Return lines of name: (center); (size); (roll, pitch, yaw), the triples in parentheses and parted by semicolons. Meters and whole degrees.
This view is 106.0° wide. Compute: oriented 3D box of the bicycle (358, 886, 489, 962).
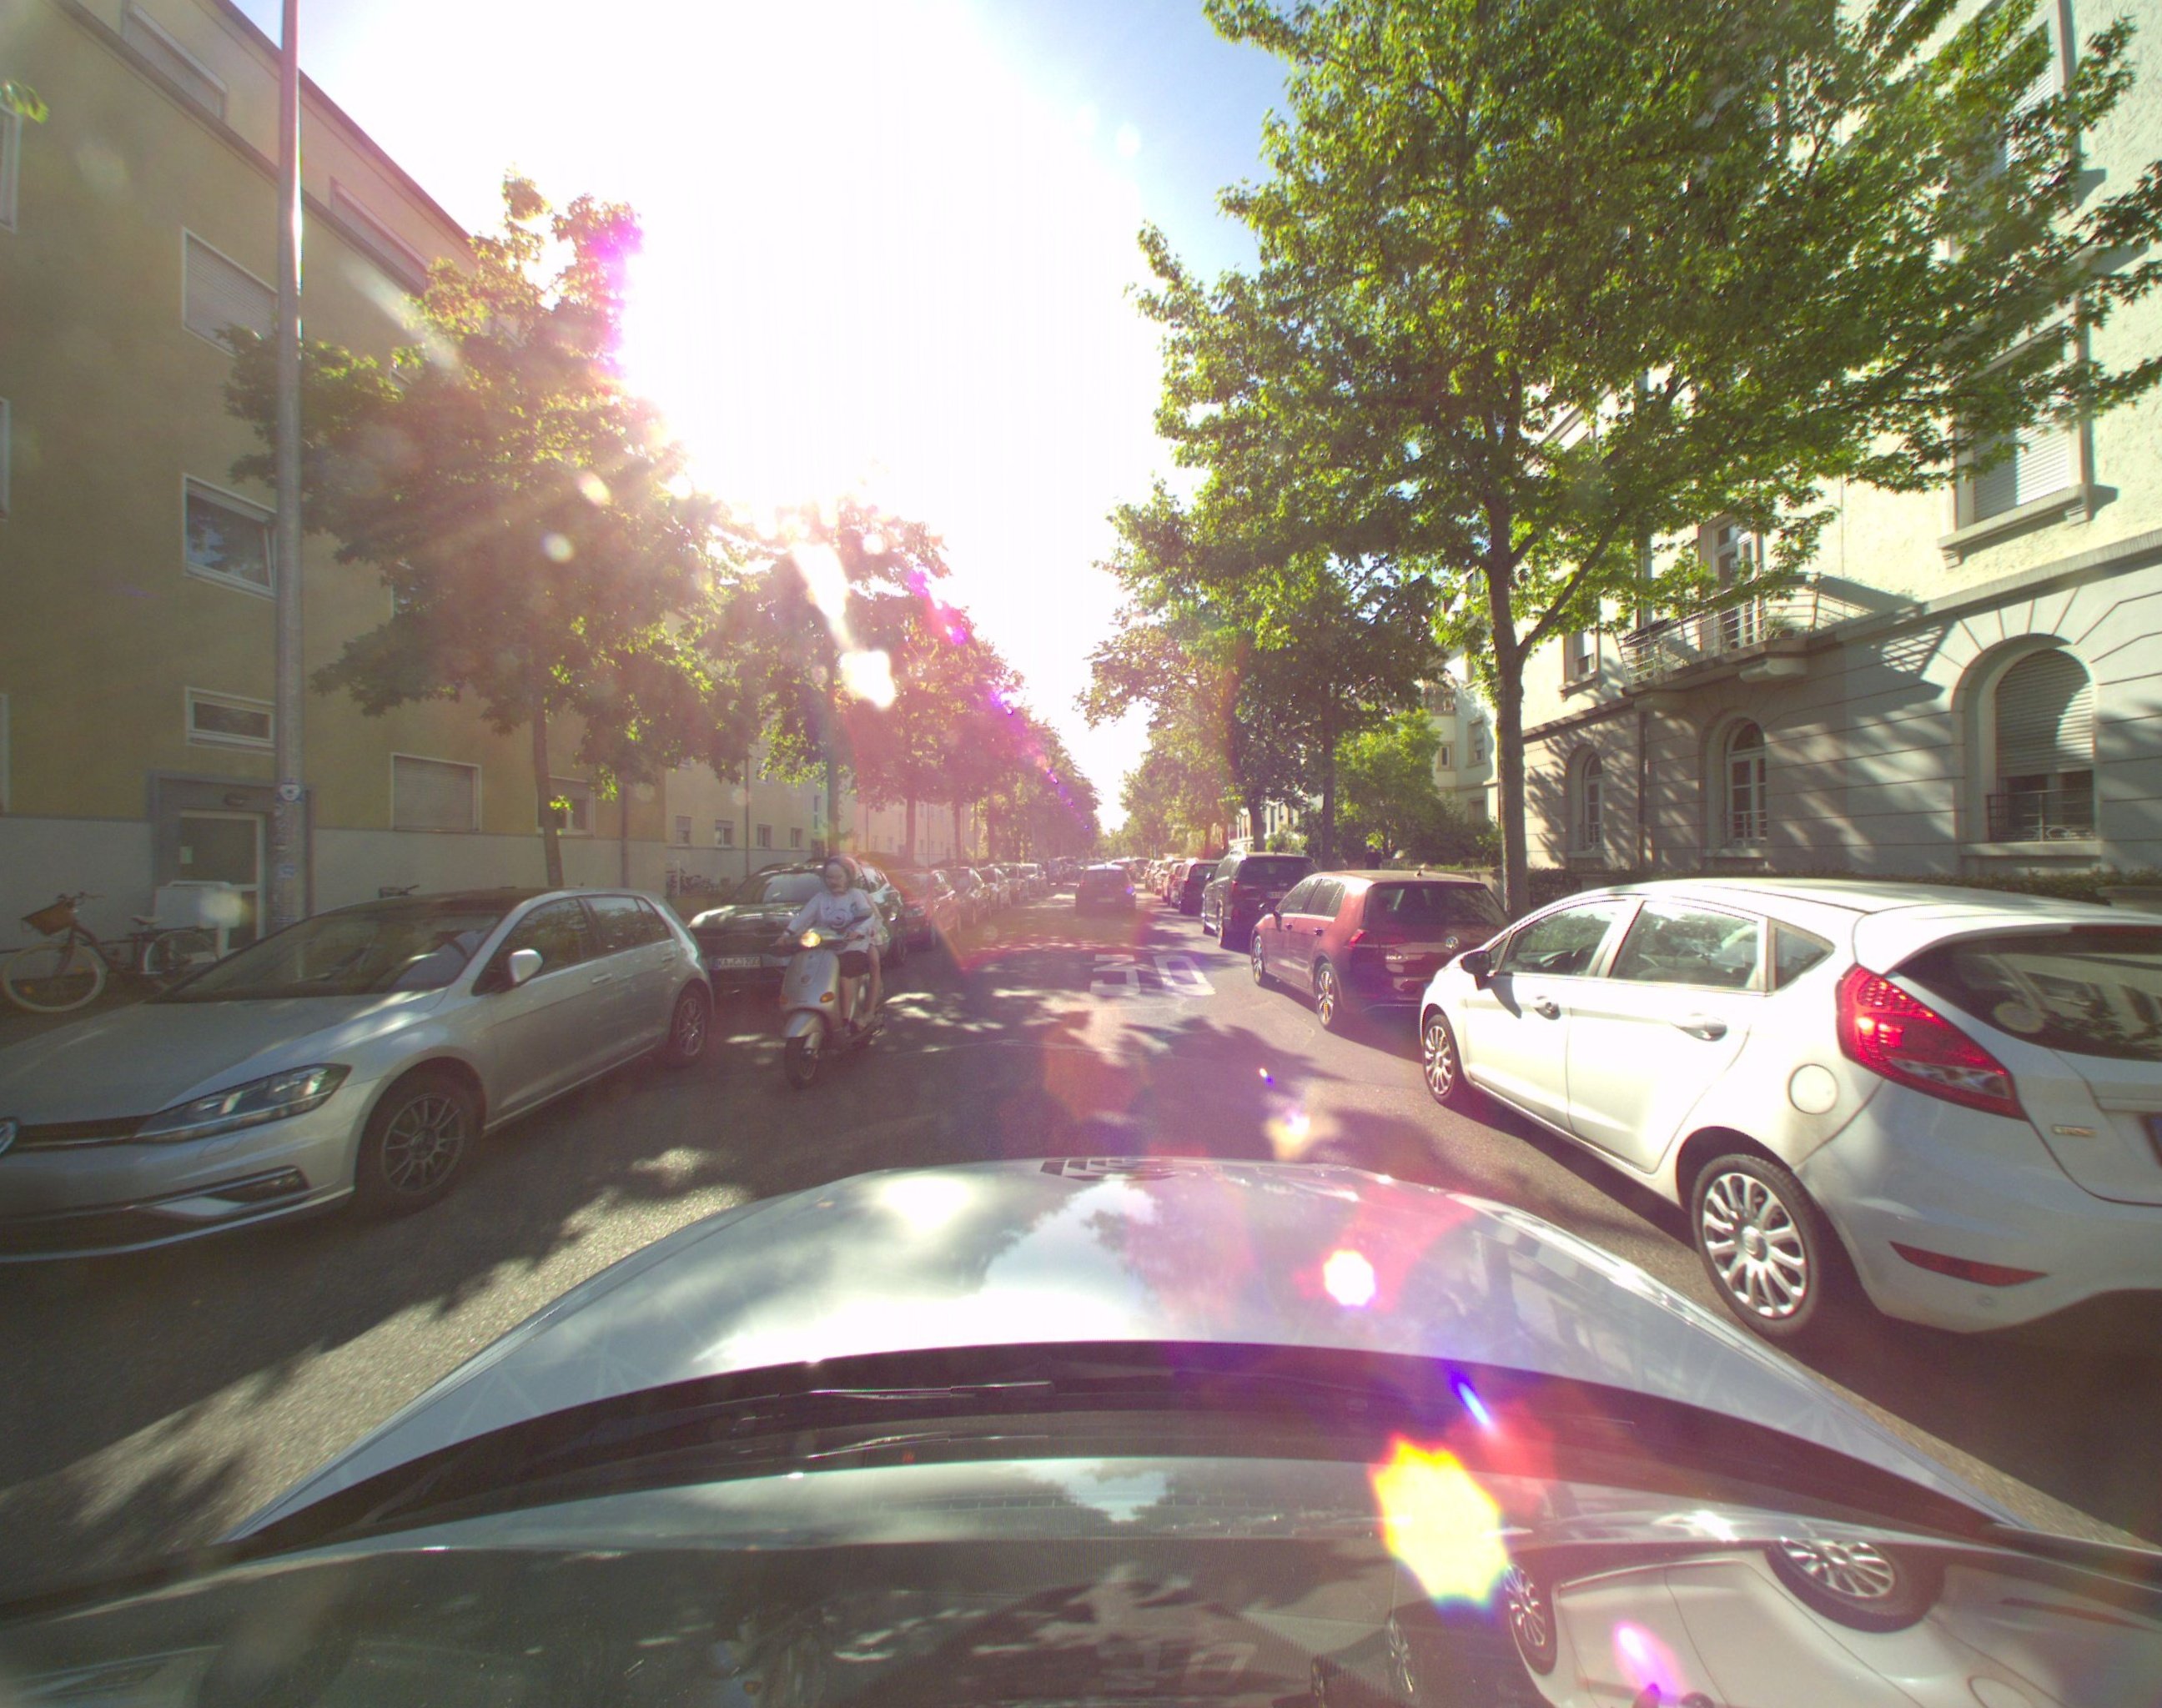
bicycle: (-10.152, 1.047, 12.665); (0.538, 1.027, 1.750); (-1, 0, 4)

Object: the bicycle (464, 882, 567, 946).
bicycle: (-10.084, 1.047, 14.598); (0.533, 1.027, 1.750); (-1, 0, 4)

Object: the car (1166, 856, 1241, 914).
car: (3.678, 0.888, 25.203); (1.678, 1.588, 4.536); (2, 0, 1)

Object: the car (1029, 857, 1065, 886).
car: (-2.077, 1.051, 51.197); (1.842, 1.680, 4.978); (-3, 0, 2)

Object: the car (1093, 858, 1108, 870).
car: (2.395, 1.247, 99.457); (1.498, 1.426, 3.183); (-1, 0, 6)

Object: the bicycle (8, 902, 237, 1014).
bicycle: (-10.071, 1.052, 8.647); (0.512, 1.001, 1.547); (-1, 0, 6)

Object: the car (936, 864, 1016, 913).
car: (-3.245, 1.045, 26.153); (1.738, 1.369, 4.677); (-2, 0, 2)

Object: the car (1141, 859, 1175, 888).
car: (4.177, 1.022, 44.626); (1.630, 1.455, 4.101); (-1, 0, 2)

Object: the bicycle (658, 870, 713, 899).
bicycle: (-13.536, 1.043, 27.889); (1.627, 0.930, 0.481); (-1, -1, -1)

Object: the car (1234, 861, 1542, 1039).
car: (2.927, 0.804, 8.848); (1.607, 1.410, 4.348); (-1, 0, -2)

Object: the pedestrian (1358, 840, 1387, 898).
pedestrian: (9.115, 0.454, 25.488); (0.620, 1.775, 0.800); (-2, -1, 2)

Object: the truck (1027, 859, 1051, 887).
truck: (-2.376, 1.060, 46.570); (1.079, 1.577, 2.434); (-1, 0, 4)

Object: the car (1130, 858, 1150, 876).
car: (5.506, 1.181, 76.564); (1.840, 1.631, 4.414); (0, -1, 4)

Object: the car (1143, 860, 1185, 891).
car: (3.996, 1.003, 39.564); (1.644, 1.428, 3.612); (-1, 0, 0)

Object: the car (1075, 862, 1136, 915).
car: (0.720, 0.957, 23.904); (1.643, 1.397, 3.413); (-1, 0, 2)

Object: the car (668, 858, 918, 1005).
car: (-3.594, 0.848, 11.192); (1.686, 1.565, 4.735); (-1, 0, 0)

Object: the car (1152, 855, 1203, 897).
car: (4.026, 0.895, 34.441); (1.644, 1.655, 3.845); (0, 0, -1)

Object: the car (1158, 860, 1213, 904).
car: (3.748, 0.968, 29.799); (1.623, 1.425, 4.370); (-1, 0, 2)

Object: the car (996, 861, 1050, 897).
car: (-2.595, 1.099, 37.698); (1.784, 1.444, 4.693); (-2, 0, 4)

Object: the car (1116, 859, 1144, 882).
car: (3.235, 1.072, 54.403); (1.644, 1.425, 4.000); (-1, 0, 0)

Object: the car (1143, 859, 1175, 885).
car: (4.655, 1.041, 49.183); (1.693, 1.449, 4.085); (-1, 0, 3)

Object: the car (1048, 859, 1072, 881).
car: (-1.614, 1.232, 63.149); (1.502, 1.548, 4.780); (-3, -1, 2)

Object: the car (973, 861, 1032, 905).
car: (-3.008, 1.084, 32.089); (1.613, 1.515, 4.272); (-3, -1, 3)

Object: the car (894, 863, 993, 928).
car: (-3.366, 0.974, 20.675); (1.658, 1.459, 3.935); (-1, 0, 2)

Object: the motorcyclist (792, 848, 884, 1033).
motorcyclist: (-1.906, 0.657, 6.444); (0.550, 1.403, 0.520); (-1, -1, 1)

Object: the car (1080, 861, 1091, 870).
car: (0.693, 1.715, 121.797); (1.606, 1.392, 3.866); (-2, 0, 1)

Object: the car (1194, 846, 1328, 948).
car: (3.345, 0.732, 15.944); (1.774, 1.698, 4.299); (-1, 0, 2)

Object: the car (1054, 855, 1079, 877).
car: (-1.263, 1.070, 73.770); (1.819, 1.904, 5.145); (-2, -1, 3)

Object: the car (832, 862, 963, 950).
car: (-3.431, 0.916, 15.774); (1.658, 1.486, 3.258); (-1, 0, 2)

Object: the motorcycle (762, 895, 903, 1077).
motorcycle: (-1.888, 0.946, 6.414); (0.550, 1.175, 1.633); (-1, 0, 2)

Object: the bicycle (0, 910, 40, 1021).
bicycle: (-10.198, 1.034, 6.982); (0.509, 1.001, 1.546); (-1, 0, 3)

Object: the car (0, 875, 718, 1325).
car: (-3.880, 0.896, 4.773); (1.755, 1.442, 3.992); (-1, 0, -1)

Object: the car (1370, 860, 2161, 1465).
car: (2.938, 0.751, 4.007); (1.646, 1.402, 4.137); (-1, 0, 1)

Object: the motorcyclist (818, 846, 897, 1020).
motorcyclist: (-1.889, 0.653, 6.921); (0.542, 1.426, 0.404); (-1, -1, 1)

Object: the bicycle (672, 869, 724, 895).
bicycle: (-14.071, 1.030, 29.953); (1.630, 0.930, 0.480); (-1, -1, -7)
